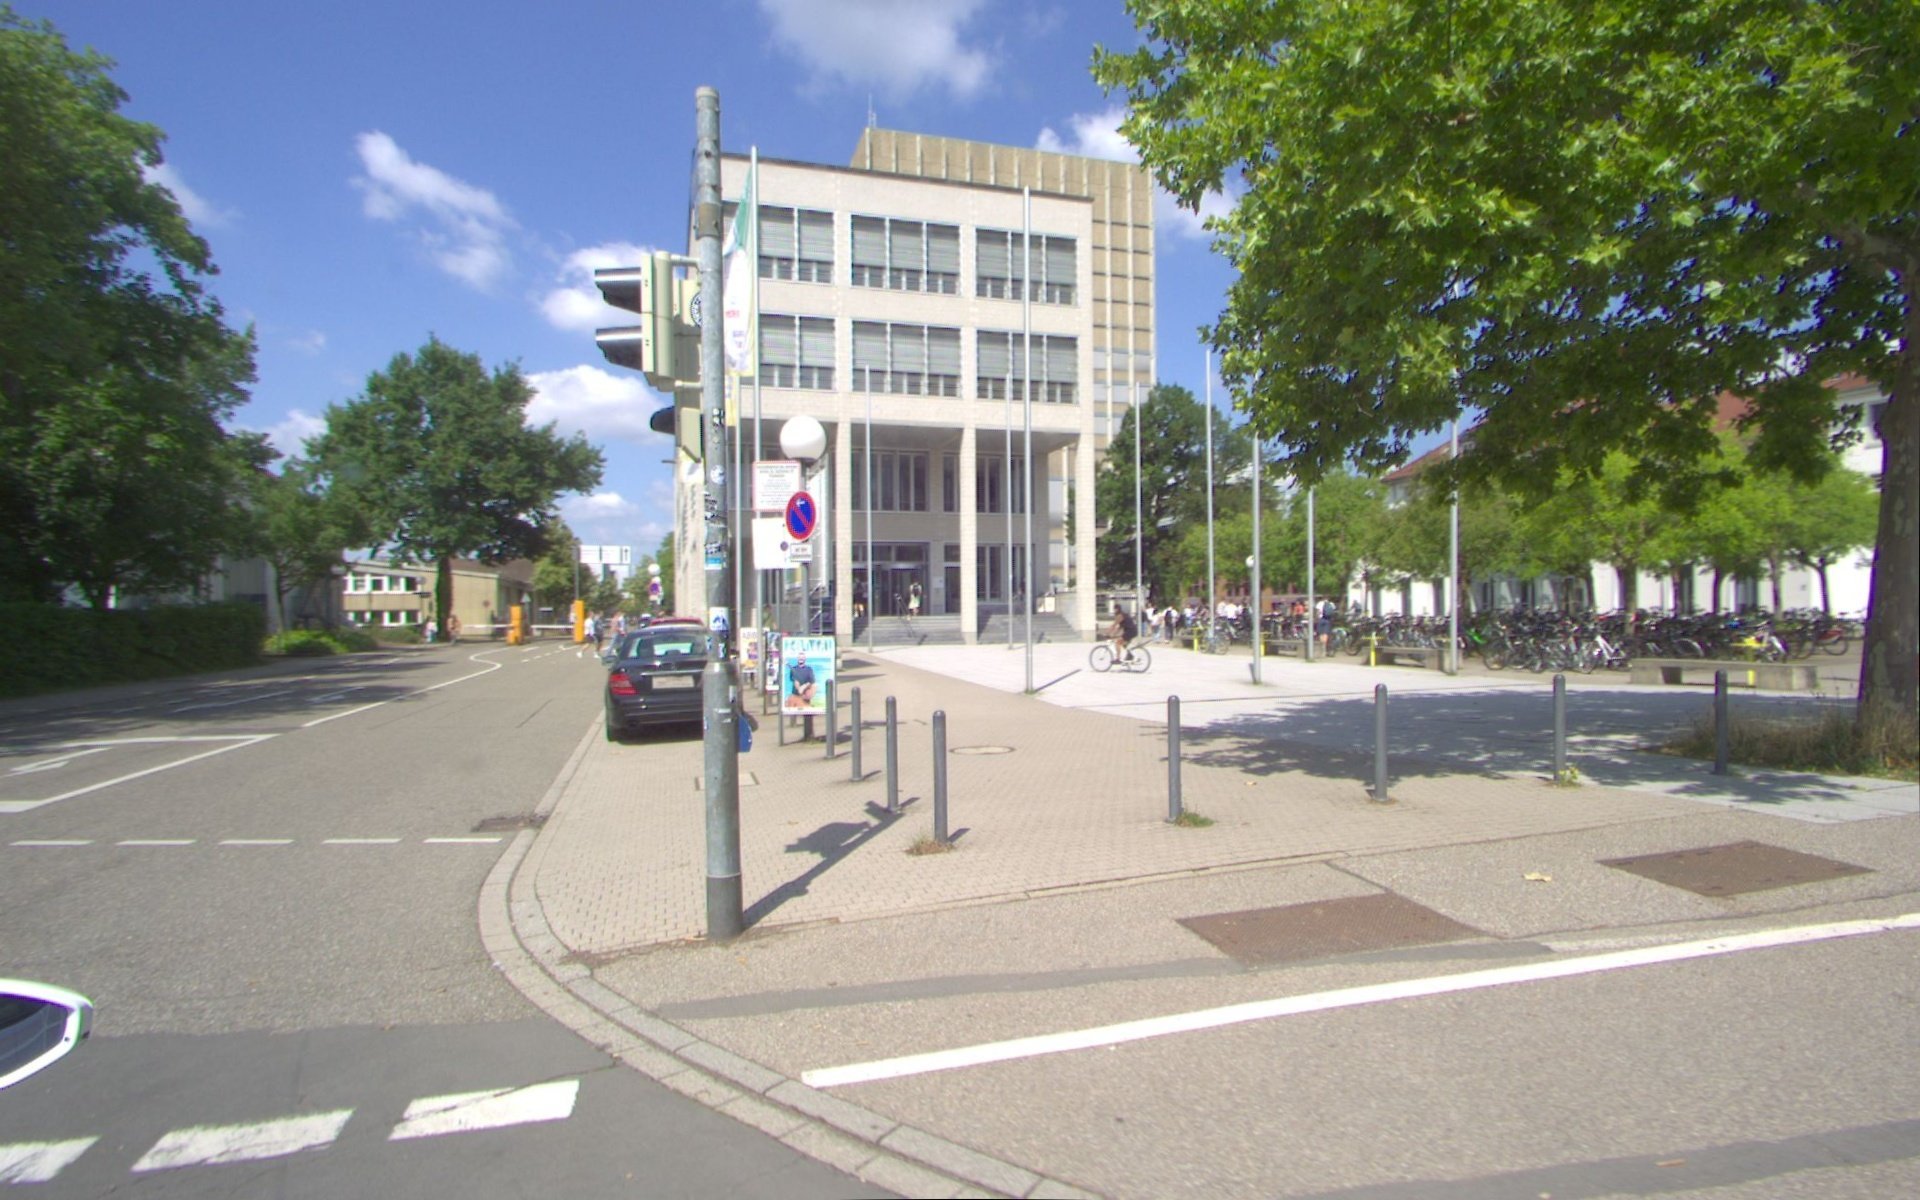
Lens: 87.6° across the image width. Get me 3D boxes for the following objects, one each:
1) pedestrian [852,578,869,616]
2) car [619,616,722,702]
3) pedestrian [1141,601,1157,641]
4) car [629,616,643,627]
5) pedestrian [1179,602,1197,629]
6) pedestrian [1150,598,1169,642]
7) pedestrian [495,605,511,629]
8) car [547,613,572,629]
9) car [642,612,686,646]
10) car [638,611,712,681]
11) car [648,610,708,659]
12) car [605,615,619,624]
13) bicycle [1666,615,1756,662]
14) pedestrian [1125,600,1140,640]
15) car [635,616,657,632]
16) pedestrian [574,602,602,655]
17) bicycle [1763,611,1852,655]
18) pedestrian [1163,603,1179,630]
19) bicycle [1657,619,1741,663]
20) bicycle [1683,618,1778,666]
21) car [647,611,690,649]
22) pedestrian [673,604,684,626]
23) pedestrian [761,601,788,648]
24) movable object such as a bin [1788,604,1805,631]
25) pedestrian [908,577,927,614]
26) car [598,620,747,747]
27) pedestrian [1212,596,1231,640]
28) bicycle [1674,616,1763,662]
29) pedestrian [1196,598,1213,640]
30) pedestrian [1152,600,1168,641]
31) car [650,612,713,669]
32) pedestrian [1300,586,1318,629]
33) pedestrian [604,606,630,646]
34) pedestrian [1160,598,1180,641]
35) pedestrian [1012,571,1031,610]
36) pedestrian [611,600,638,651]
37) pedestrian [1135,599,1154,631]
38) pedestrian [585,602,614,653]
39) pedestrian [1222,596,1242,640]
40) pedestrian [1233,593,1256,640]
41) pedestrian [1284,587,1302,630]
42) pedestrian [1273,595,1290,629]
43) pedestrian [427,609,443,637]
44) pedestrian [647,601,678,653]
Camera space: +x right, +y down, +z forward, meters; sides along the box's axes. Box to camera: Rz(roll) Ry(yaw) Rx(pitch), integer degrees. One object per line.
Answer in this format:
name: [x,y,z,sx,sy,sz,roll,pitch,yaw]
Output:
pedestrian: [-4.455,-0.136,44.830,0.622,1.687,0.716,-1,-1,-14]
car: [-5.808,1.077,20.104,1.693,1.418,4.431,-3,0,-16]
pedestrian: [10.796,1.213,57.225,0.702,2.257,0.634,-1,-1,2]
car: [-55.061,3.652,170.359,1.964,1.742,3.997,-1,-2,-14]
pedestrian: [12.697,0.862,55.690,0.707,1.455,0.630,0,-2,-36]
pedestrian: [8.143,0.813,40.931,0.622,1.769,0.717,-1,-1,2]
pedestrian: [-36.315,1.339,79.539,1.041,1.840,0.804,-1,1,-18]
car: [-40.724,2.091,101.946,1.964,1.566,4.204,0,0,-16]
car: [-13.531,1.285,45.799,1.839,1.483,4.512,0,0,-17]
car: [-7.154,1.072,25.200,1.590,1.516,4.140,-3,0,-16]
car: [-10.022,1.169,35.350,1.695,1.549,4.555,-2,0,-20]
car: [-61.092,3.480,175.769,1.964,1.566,4.204,0,0,-16]
bicycle: [18.577,0.945,24.791,1.749,1.113,0.598,-1,0,43]
pedestrian: [9.839,1.126,57.118,0.702,2.257,0.634,-1,-1,2]
car: [-30.542,2.315,97.503,1.964,1.566,4.205,0,-1,-16]
pedestrian: [-13.975,1.063,37.619,0.771,1.951,0.593,0,0,5]
bicycle: [22.265,0.886,26.329,1.749,1.113,0.598,-3,-2,43]
pedestrian: [11.792,0.930,56.014,0.702,1.448,0.634,-1,-1,2]
bicycle: [19.484,1.065,26.426,1.749,1.113,0.598,-1,-1,43]
bicycle: [18.457,0.992,24.015,1.749,1.113,0.598,-1,-1,43]
car: [-12.125,1.208,41.541,1.591,1.516,3.998,0,-1,-18]
pedestrian: [-23.064,1.236,81.920,0.756,1.804,0.908,-2,1,-18]
pedestrian: [-7.070,0.932,38.087,0.904,1.763,1.000,-1,0,-17]
movable object such as a bin: [33.432,0.684,40.024,0.362,1.069,0.388,-1,1,-21]
pedestrian: [-1.872,-0.188,44.073,0.707,1.605,0.716,-1,-1,-14]
car: [-4.184,1.049,14.590,1.693,1.418,4.940,-2,0,-16]
pedestrian: [13.722,0.960,52.546,0.709,2.257,0.629,-2,-2,43]
bicycle: [19.127,0.970,25.282,1.748,1.113,0.598,0,0,43]
pedestrian: [13.424,1.062,54.947,0.702,2.257,0.634,-1,-1,2]
pedestrian: [11.042,1.129,55.234,0.702,2.257,0.634,-1,-1,2]
car: [-8.336,1.163,29.946,1.694,1.549,3.993,-1,0,-16]
pedestrian: [18.627,0.403,53.406,0.627,2.257,0.710,-2,-2,43]
pedestrian: [-15.185,1.155,44.347,1.028,1.740,0.619,-1,1,41]
pedestrian: [8.626,0.810,41.135,0.622,1.769,0.717,-1,-1,2]
pedestrian: [2.968,-0.441,48.166,0.707,1.820,0.716,-1,-1,-14]
pedestrian: [-12.999,0.971,38.831,0.712,1.951,0.751,0,0,7]
pedestrian: [10.180,0.832,55.254,0.855,1.723,0.634,-1,-1,2]
pedestrian: [-13.800,1.054,38.362,0.769,1.951,0.734,0,0,5]
pedestrian: [14.088,0.923,51.835,0.709,2.257,0.629,-2,-2,43]
pedestrian: [14.000,0.823,49.282,0.628,2.257,0.846,0,-2,-45]
pedestrian: [17.954,0.465,53.972,0.627,2.257,0.710,-2,-2,43]
pedestrian: [17.449,0.672,54.338,0.627,1.800,0.710,-2,-2,43]
pedestrian: [-30.438,1.333,58.077,0.703,1.648,0.882,0,0,-18]
pedestrian: [-11.318,1.033,38.134,1.079,1.945,1.019,0,0,-16]
